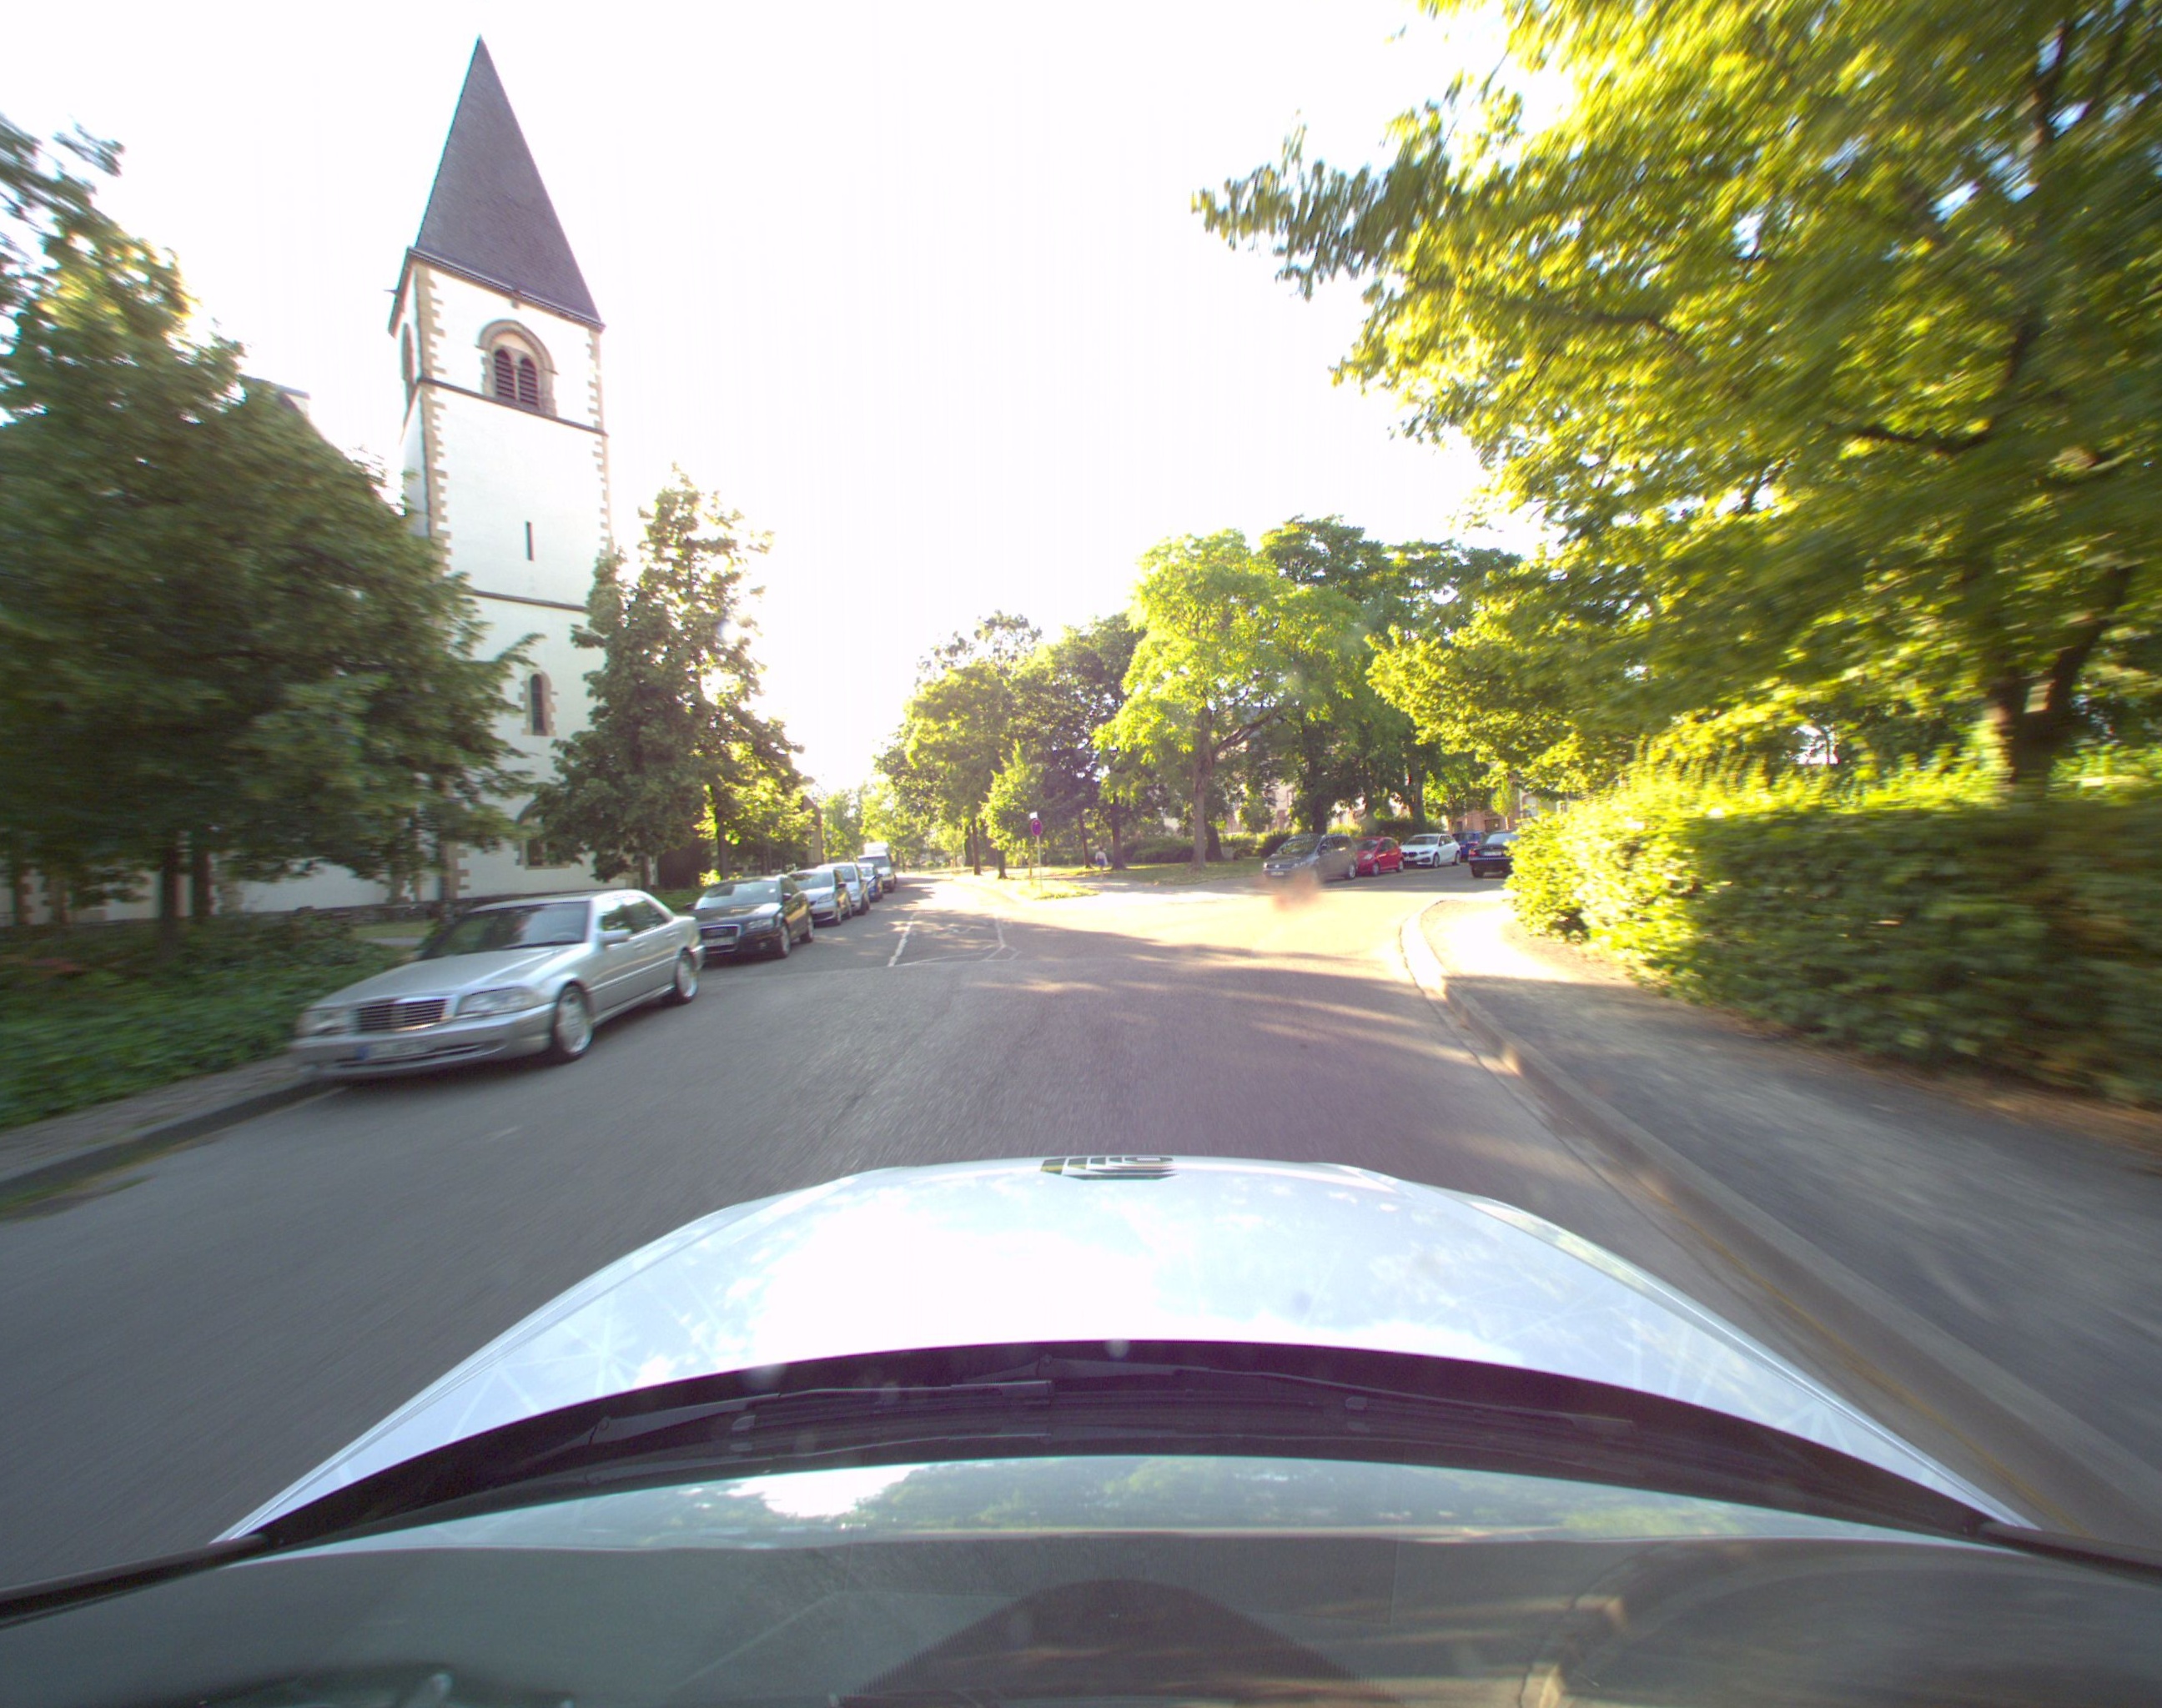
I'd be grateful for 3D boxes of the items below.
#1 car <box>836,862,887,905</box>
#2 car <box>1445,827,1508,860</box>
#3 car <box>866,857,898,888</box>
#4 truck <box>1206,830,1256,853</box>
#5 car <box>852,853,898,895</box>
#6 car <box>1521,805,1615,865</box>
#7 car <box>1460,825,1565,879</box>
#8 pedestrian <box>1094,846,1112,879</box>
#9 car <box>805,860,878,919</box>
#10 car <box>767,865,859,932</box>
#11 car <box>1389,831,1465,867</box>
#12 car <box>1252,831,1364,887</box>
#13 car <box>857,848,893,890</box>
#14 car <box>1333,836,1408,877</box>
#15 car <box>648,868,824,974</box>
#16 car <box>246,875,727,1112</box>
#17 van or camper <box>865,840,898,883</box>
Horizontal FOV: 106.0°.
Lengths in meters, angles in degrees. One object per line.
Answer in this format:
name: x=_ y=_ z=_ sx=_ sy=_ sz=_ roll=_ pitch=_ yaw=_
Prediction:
car: x=-8.777 y=1.147 z=32.812 sx=1.616 sy=1.501 sz=3.683 roll=-3 pitch=0 yaw=-10
car: x=19.340 y=-0.527 z=39.796 sx=1.623 sy=1.495 sz=3.727 roll=0 pitch=2 yaw=45
car: x=-13.462 y=1.230 z=55.006 sx=1.855 sy=1.885 sz=4.121 roll=-3 pitch=0 yaw=-16
truck: x=22.325 y=-1.884 z=121.746 sx=2.621 sy=3.029 sz=7.930 roll=-3 pitch=0 yaw=-30
car: x=-10.469 y=0.962 z=41.621 sx=1.852 sy=1.946 sz=4.823 roll=-3 pitch=0 yaw=-10
car: x=18.208 y=-0.738 z=30.302 sx=1.934 sy=2.013 sz=5.185 roll=-3 pitch=0 yaw=42
car: x=13.823 y=-0.097 z=25.935 sx=1.748 sy=1.468 sz=4.896 roll=-3 pitch=0 yaw=42
pedestrian: x=1.065 y=0.409 z=39.429 sx=0.771 sy=1.574 sz=0.767 roll=-4 pitch=0 yaw=-1
car: x=-7.369 y=1.040 z=25.337 sx=1.705 sy=1.579 sz=3.683 roll=-3 pitch=0 yaw=-10
car: x=-6.956 y=1.105 z=21.456 sx=1.612 sy=1.440 sz=3.594 roll=-5 pitch=1 yaw=-9
car: x=15.113 y=-0.243 z=35.454 sx=1.674 sy=1.406 sz=3.999 roll=0 pitch=2 yaw=45
car: x=7.839 y=0.119 z=27.886 sx=1.785 sy=1.675 sz=4.347 roll=0 pitch=2 yaw=45
car: x=-12.565 y=0.888 z=49.526 sx=1.855 sy=2.355 sz=5.158 roll=-3 pitch=0 yaw=-16
car: x=11.196 y=0.058 z=31.380 sx=1.375 sy=1.423 sz=3.447 roll=0 pitch=2 yaw=45
car: x=-6.076 y=1.074 z=14.950 sx=1.824 sy=1.415 sz=4.481 roll=-5 pitch=1 yaw=-9
car: x=-5.306 y=1.070 z=8.213 sx=1.777 sy=1.415 sz=4.488 roll=-5 pitch=1 yaw=-6
van or camper: x=-14.680 y=0.565 z=60.278 sx=2.092 sy=2.907 sz=6.303 roll=-3 pitch=0 yaw=-13
